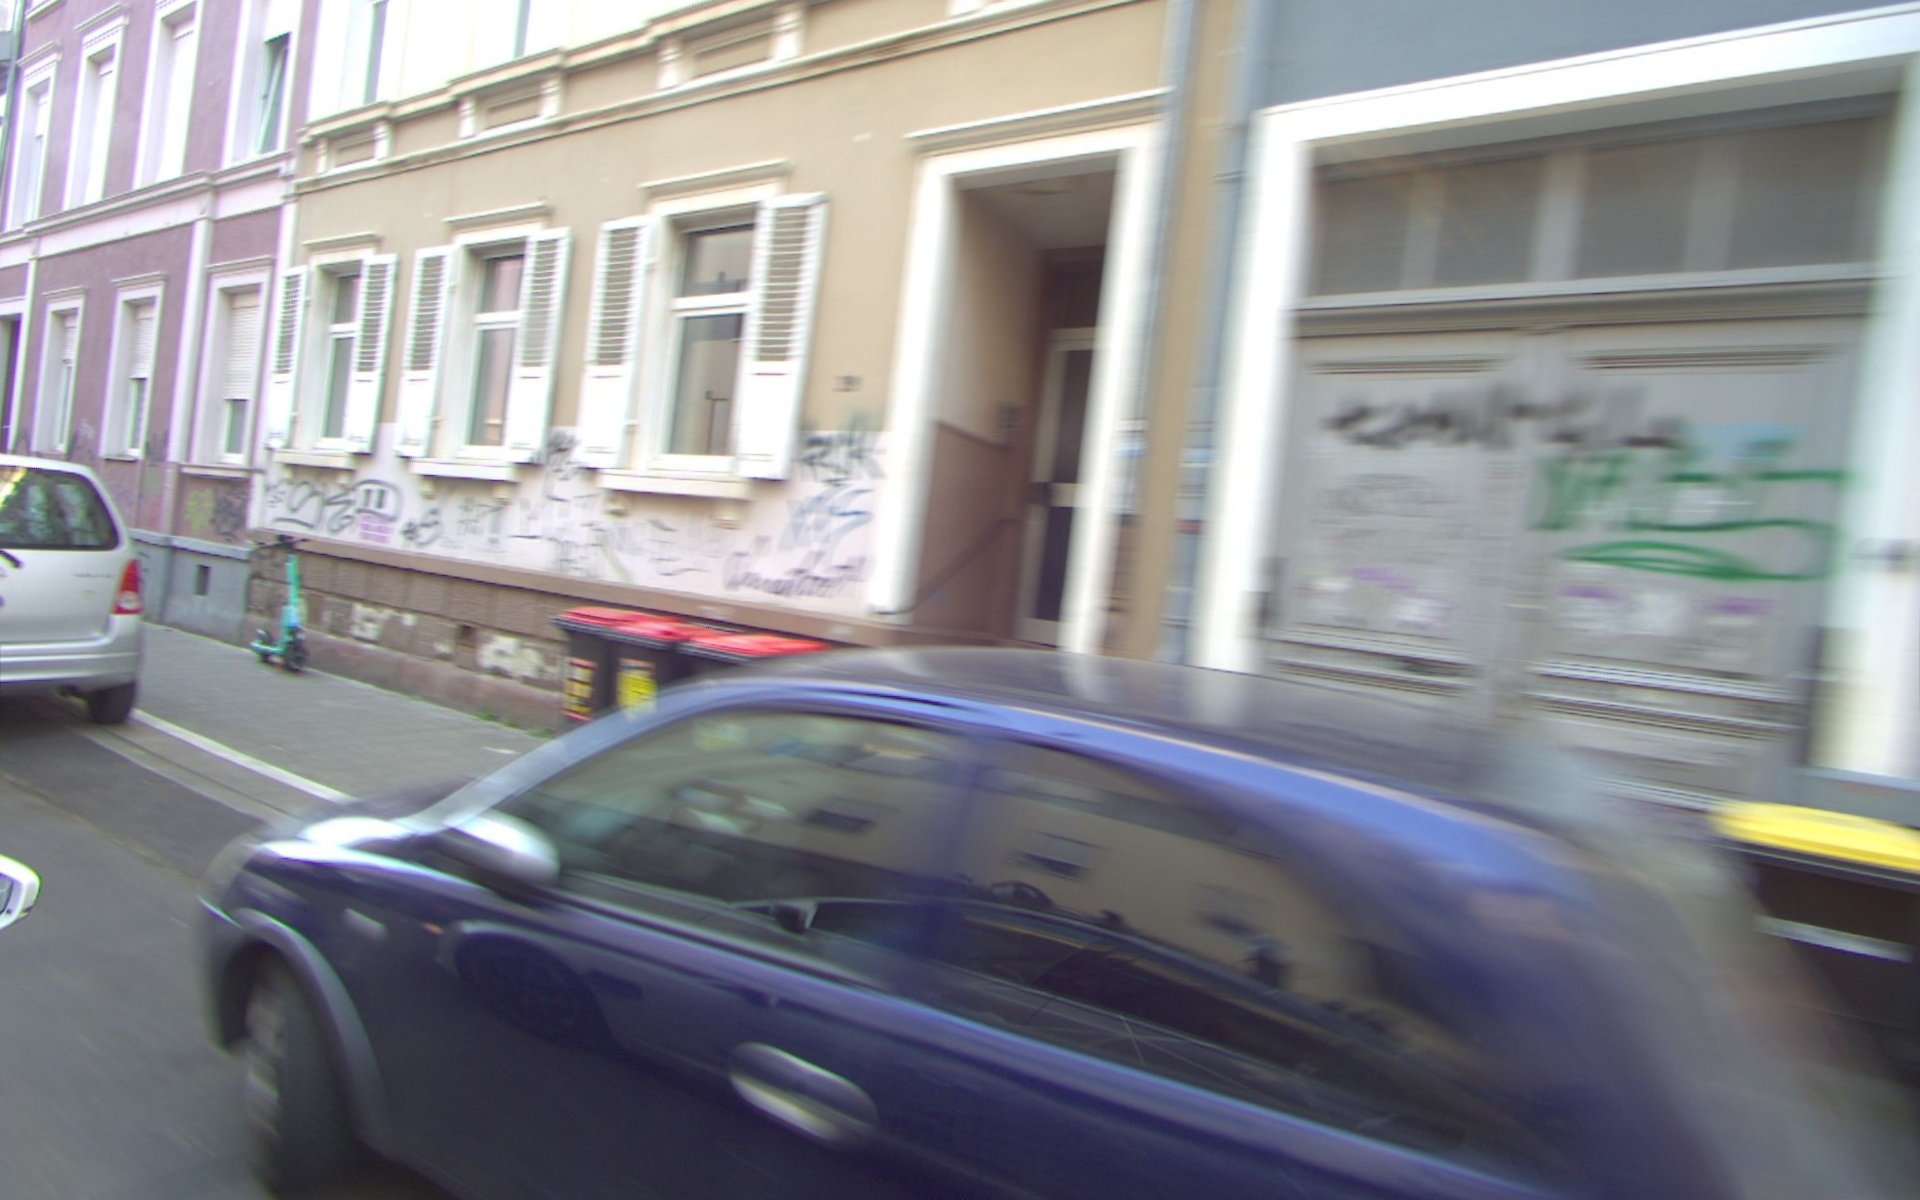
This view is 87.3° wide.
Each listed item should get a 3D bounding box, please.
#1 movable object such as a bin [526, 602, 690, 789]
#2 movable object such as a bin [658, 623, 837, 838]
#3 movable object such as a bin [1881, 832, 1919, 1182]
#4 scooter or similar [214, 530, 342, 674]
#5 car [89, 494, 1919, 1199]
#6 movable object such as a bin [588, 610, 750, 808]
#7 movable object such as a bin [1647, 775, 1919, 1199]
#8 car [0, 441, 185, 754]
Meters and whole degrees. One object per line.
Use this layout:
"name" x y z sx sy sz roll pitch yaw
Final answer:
"movable object such as a bin" -2.313 0.605 6.645 0.550 1.102 0.753 7 2 32
"movable object such as a bin" -1.237 0.729 5.906 0.622 1.102 0.694 7 2 32
"movable object such as a bin" 3.267 1.193 2.940 0.570 1.259 0.763 7 1 30
"scooter or similar" -6.415 -0.001 9.442 1.346 1.199 0.450 7 4 32
"car" -0.282 0.731 2.433 3.550 1.528 1.556 7 -2 30
"movable object such as a bin" -1.807 0.657 6.287 0.550 1.102 0.694 7 2 32
"movable object such as a bin" 2.750 1.215 3.275 0.674 1.105 0.726 7 1 30
"car" -6.793 -0.170 6.501 3.500 1.732 1.559 6 -2 32
